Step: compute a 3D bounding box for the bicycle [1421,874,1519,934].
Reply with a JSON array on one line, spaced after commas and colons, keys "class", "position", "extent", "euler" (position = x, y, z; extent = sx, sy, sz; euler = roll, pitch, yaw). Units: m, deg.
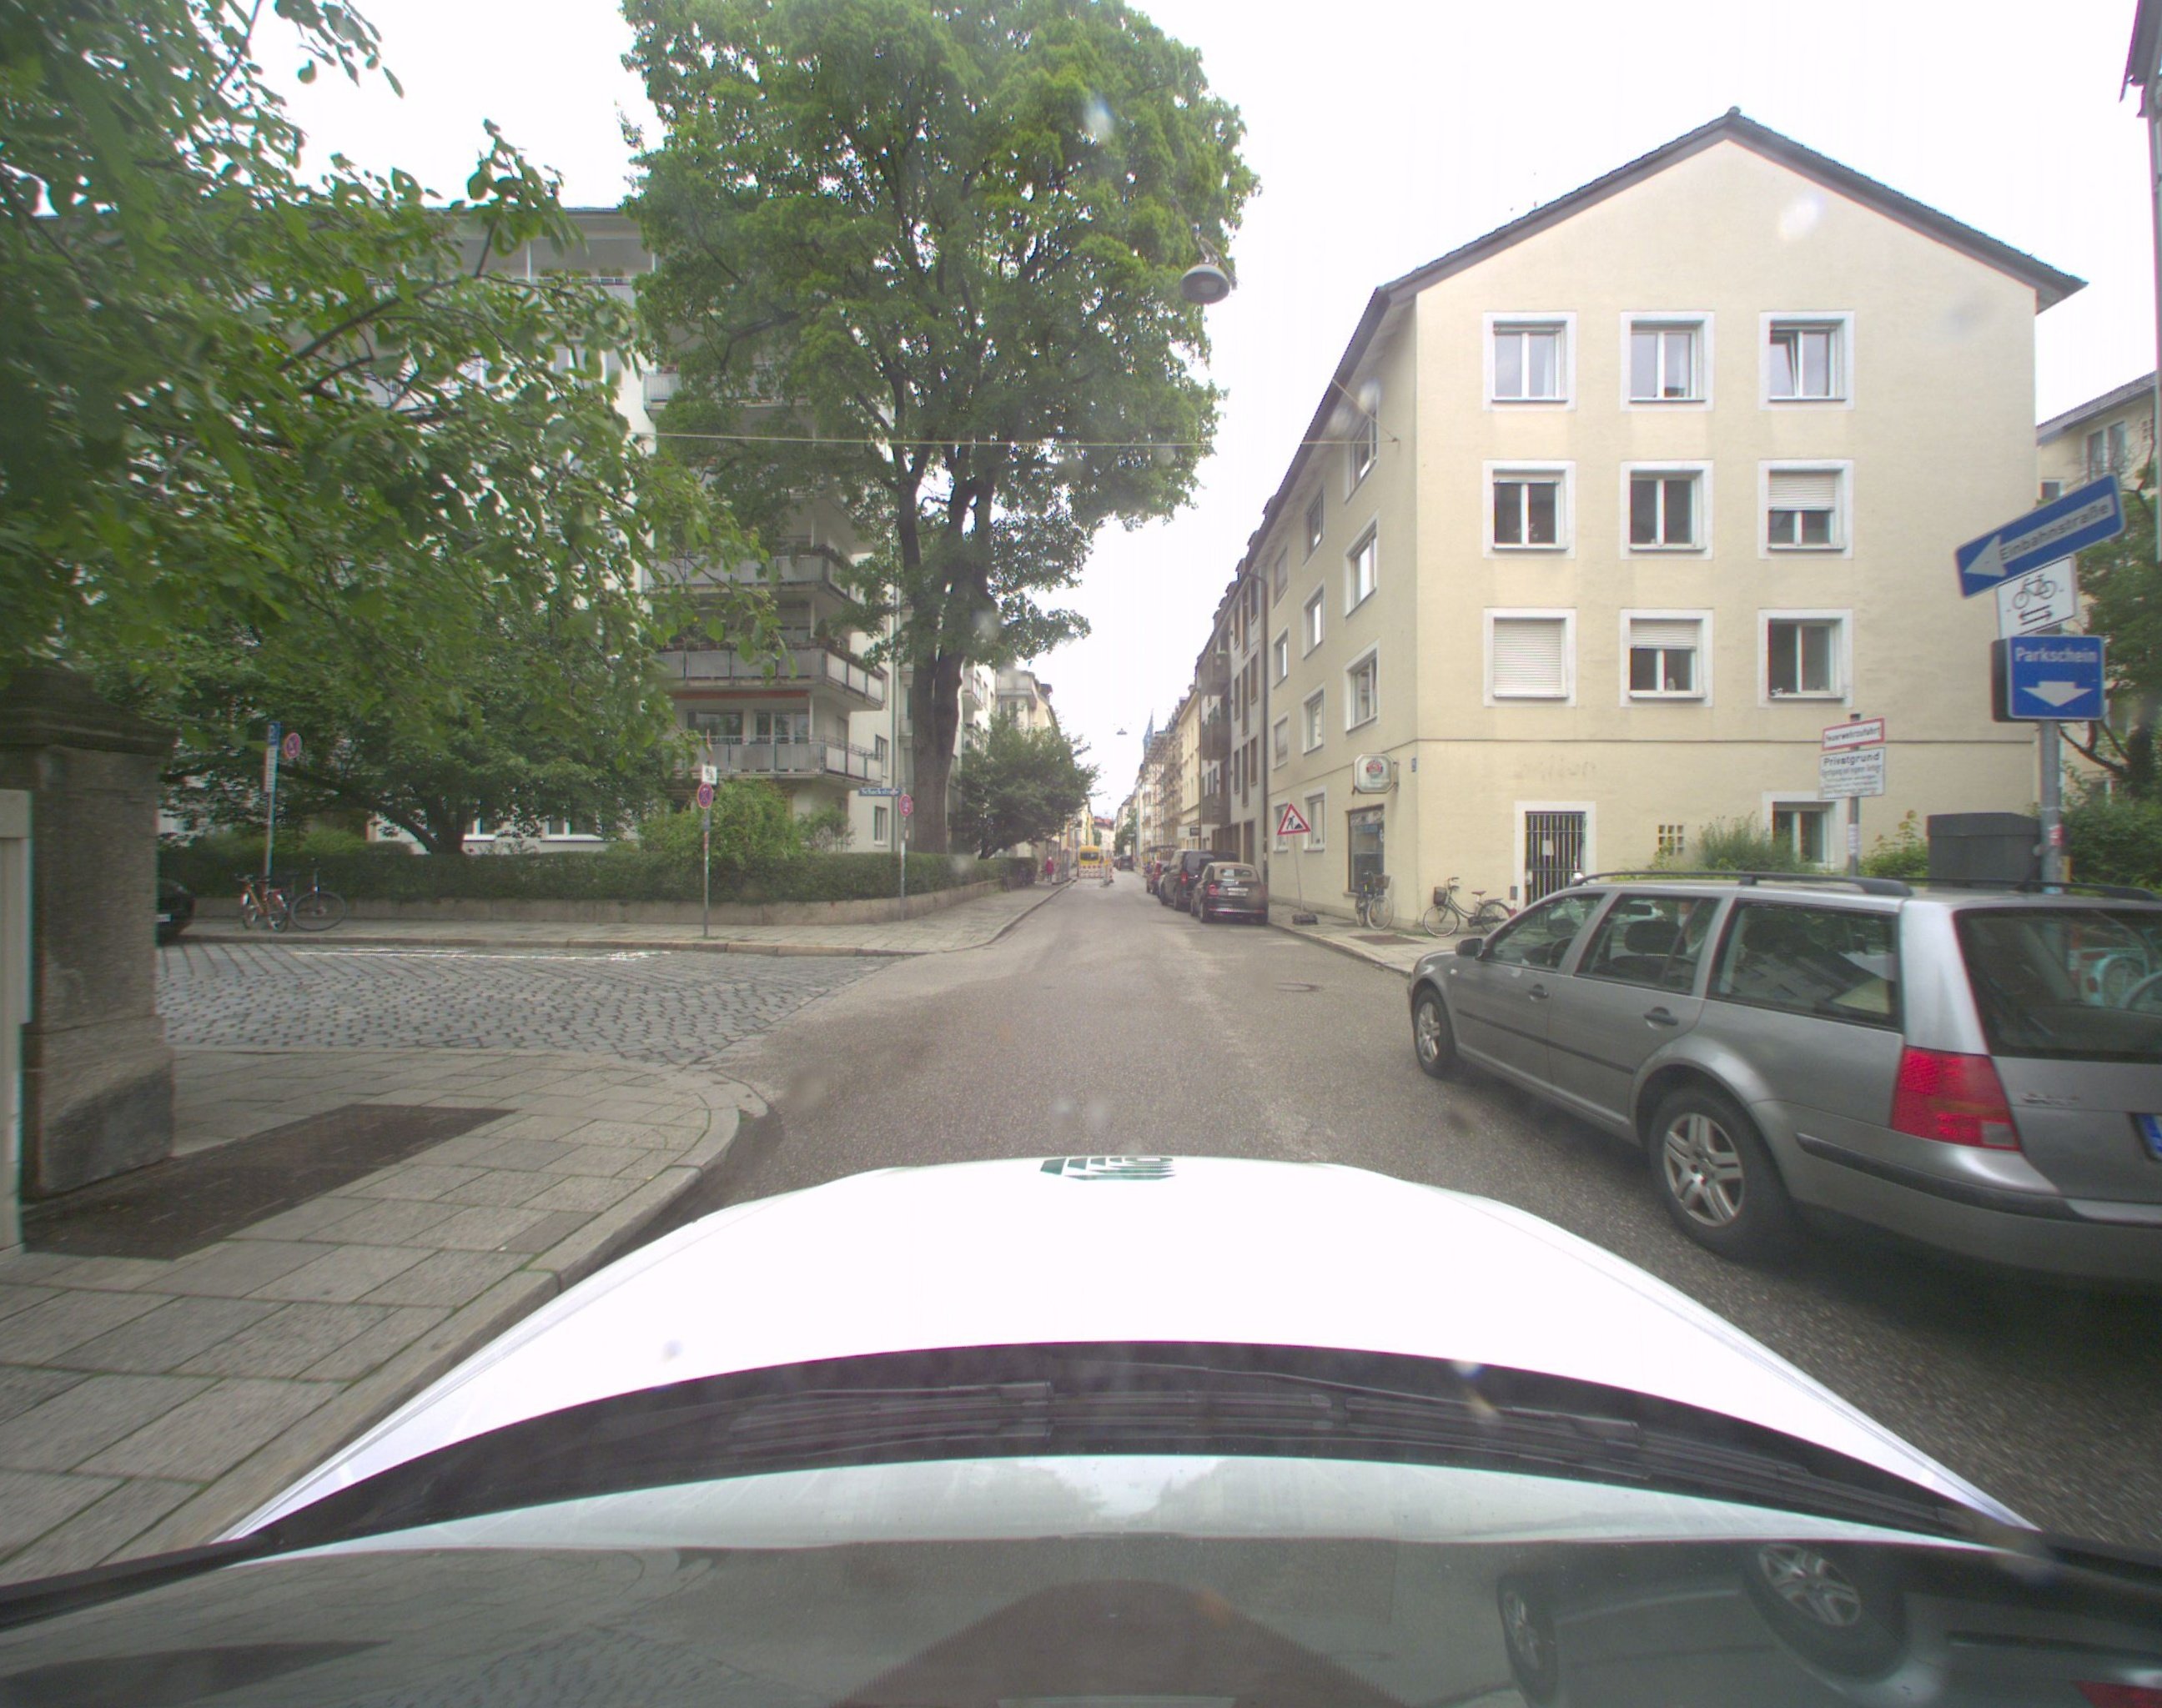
[{"class": "bicycle", "position": [7.123, 0.908, 14.941], "extent": [1.531, 1.026, 0.475], "euler": [-2, -1, -1]}]

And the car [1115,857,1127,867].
[{"class": "car", "position": [6.446, 1.336, 131.593], "extent": [1.794, 1.614, 4.002], "euler": [1, 0, 2]}]

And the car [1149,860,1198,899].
[{"class": "car", "position": [3.765, 1.004, 33.621], "extent": [1.558, 1.434, 3.415], "euler": [4, 0, 0]}]

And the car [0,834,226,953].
[{"class": "car", "position": [-15.782, 0.574, 12.207], "extent": [4.028, 1.645, 1.765], "euler": [0, -2, 1]}]

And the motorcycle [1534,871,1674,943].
[{"class": "motorcycle", "position": [8.843, 0.862, 13.834], "extent": [0.626, 1.108, 1.905], "euler": [1, -1, -41]}]

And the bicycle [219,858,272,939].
[{"class": "bicycle", "position": [-14.307, 0.714, 13.978], "extent": [0.591, 1.243, 2.139], "euler": [1, 0, -45]}]

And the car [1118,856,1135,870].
[{"class": "car", "position": [5.768, 1.125, 103.126], "extent": [1.795, 1.712, 3.826], "euler": [4, 0, 0]}]

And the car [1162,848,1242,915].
[{"class": "car", "position": [3.688, 0.789, 25.512], "extent": [1.796, 1.820, 3.999], "euler": [4, 0, -1]}]

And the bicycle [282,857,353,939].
[{"class": "bicycle", "position": [-13.355, 0.719, 14.215], "extent": [2.277, 1.243, 0.693], "euler": [3, 1, 42]}]

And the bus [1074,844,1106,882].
[{"class": "bus", "position": [0.824, 0.806, 71.314], "extent": [2.583, 3.102, 6.308], "euler": [-1, -1, 2]}]

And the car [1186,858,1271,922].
[{"class": "car", "position": [3.731, 0.858, 21.148], "extent": [1.618, 1.487, 3.810], "euler": [1, 0, 2]}]

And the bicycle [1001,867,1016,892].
[{"class": "bicycle", "position": [-2.993, 1.044, 33.860], "extent": [0.413, 1.020, 1.854], "euler": [-1, -1, 1]}]

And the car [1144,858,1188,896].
[{"class": "car", "position": [3.860, 1.016, 37.395], "extent": [1.630, 1.515, 3.830], "euler": [4, 0, 1]}]

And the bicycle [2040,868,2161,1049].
[{"class": "bicycle", "position": [7.281, 0.683, 5.143], "extent": [0.380, 1.159, 1.539], "euler": [1, -1, -27]}]

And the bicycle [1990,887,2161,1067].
[{"class": "bicycle", "position": [6.843, 0.777, 5.069], "extent": [0.380, 1.080, 1.539], "euler": [1, 0, -27]}]

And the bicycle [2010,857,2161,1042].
[{"class": "bicycle", "position": [7.688, 0.665, 5.686], "extent": [0.380, 1.276, 1.539], "euler": [1, -1, -27]}]

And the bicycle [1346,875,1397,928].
[{"class": "bicycle", "position": [6.078, 0.962, 17.093], "extent": [0.472, 1.026, 1.706], "euler": [-2, -1, 2]}]

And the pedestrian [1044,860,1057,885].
[{"class": "pedestrian", "position": [-1.904, 1.137, 50.614], "extent": [0.753, 1.491, 0.831], "euler": [-1, -1, 1]}]

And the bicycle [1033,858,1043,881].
[{"class": "bicycle", "position": [-2.757, 1.000, 52.207], "extent": [0.512, 1.418, 1.934], "euler": [-1, -1, 1]}]

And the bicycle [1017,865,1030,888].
[{"class": "bicycle", "position": [-2.759, 1.092, 39.396], "extent": [0.444, 1.073, 2.467], "euler": [-1, -1, 0]}]

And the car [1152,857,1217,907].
[{"class": "car", "position": [3.681, 0.964, 29.608], "extent": [1.795, 1.568, 4.000], "euler": [4, 0, 0]}]

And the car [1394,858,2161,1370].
[{"class": "car", "position": [3.279, 0.753, 4.317], "extent": [1.739, 1.445, 4.000], "euler": [1, 0, 0]}]
